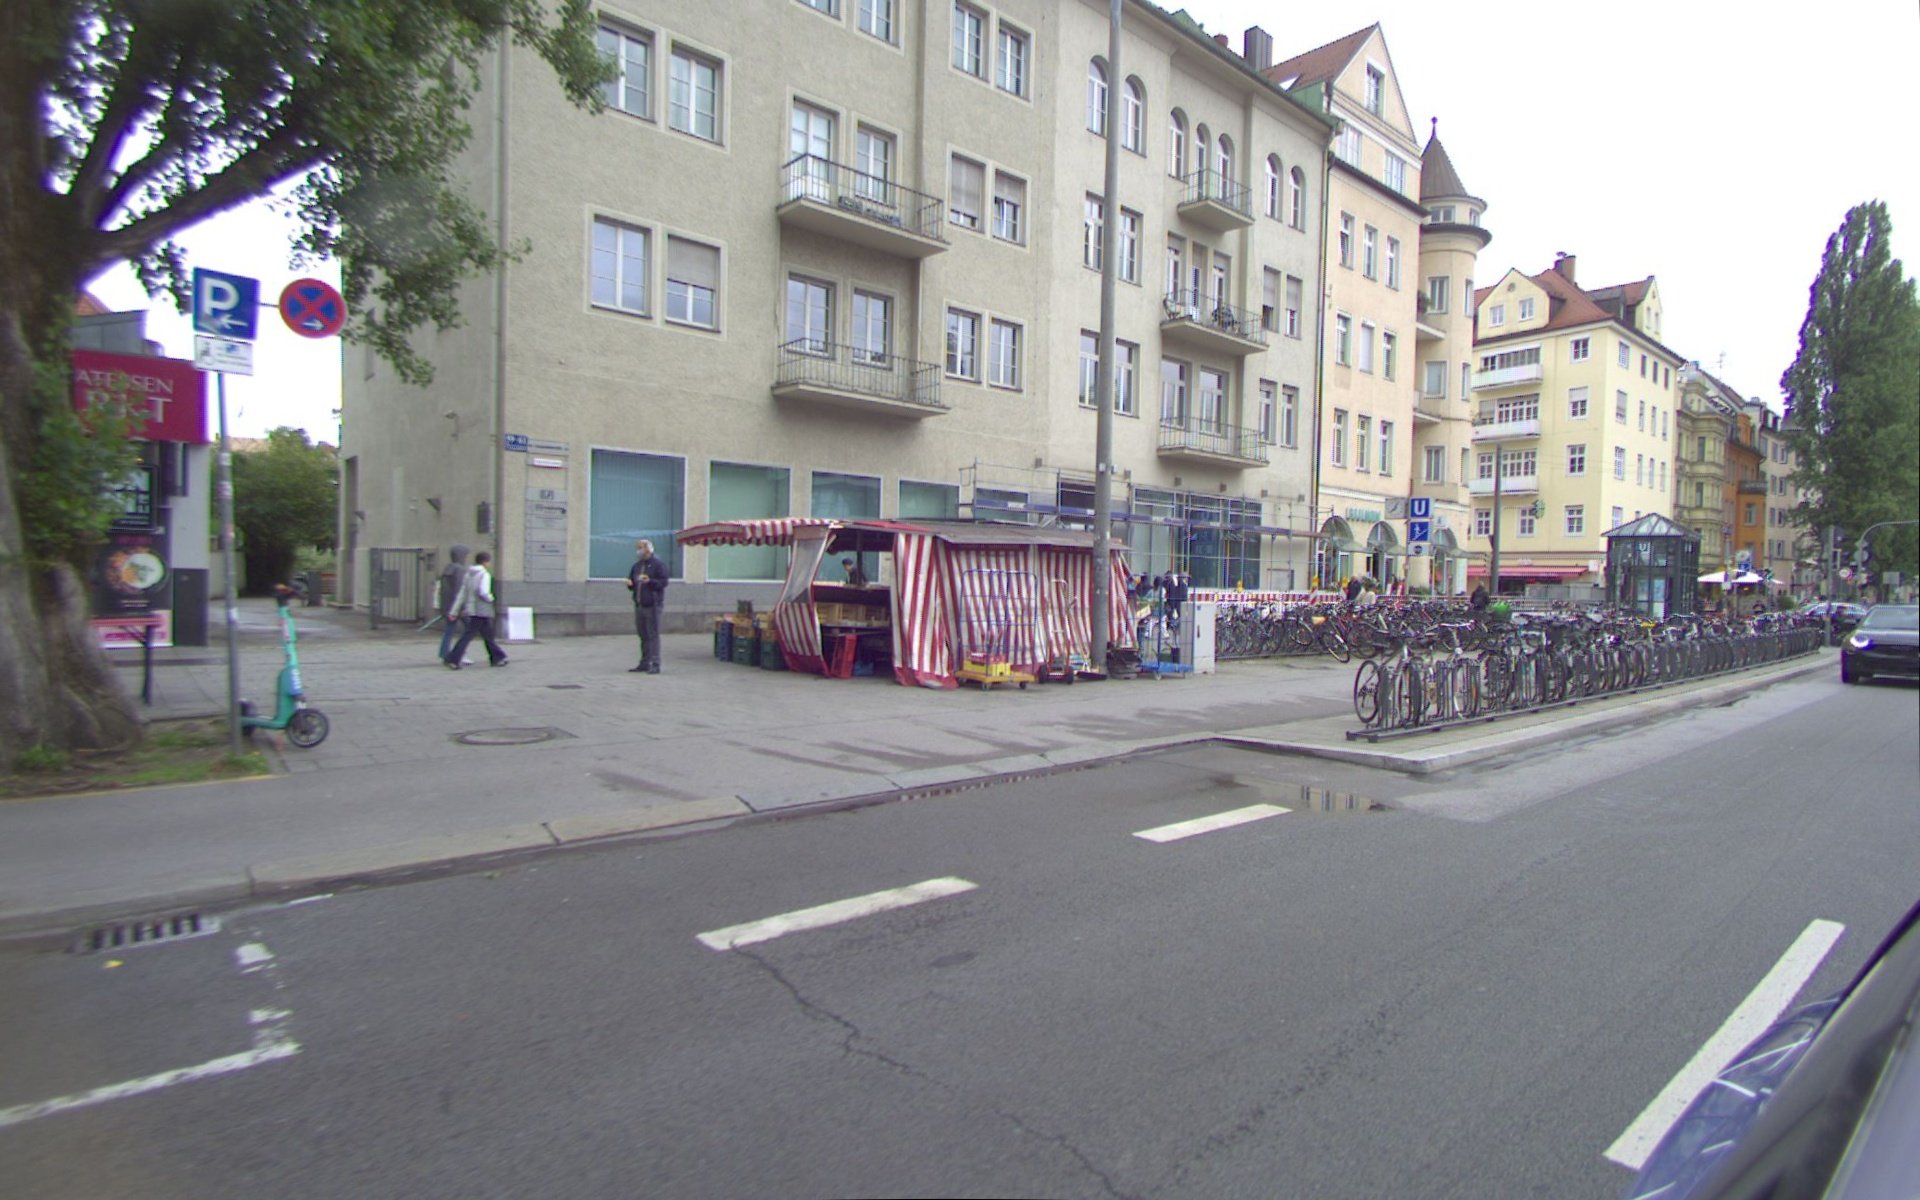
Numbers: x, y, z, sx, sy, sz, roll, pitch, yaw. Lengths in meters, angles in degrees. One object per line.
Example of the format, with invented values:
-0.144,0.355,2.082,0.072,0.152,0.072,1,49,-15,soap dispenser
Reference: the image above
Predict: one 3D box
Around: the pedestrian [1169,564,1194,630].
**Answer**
5.748,-0.092,26.310,0.495,1.695,0.541,0,0,-3,pedestrian

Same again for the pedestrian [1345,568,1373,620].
13.971,-0.215,35.425,0.634,1.760,0.617,1,2,-42,pedestrian

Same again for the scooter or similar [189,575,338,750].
-5.456,0.442,7.905,1.458,1.222,0.396,3,2,32,scooter or similar

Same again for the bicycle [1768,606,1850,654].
21.949,0.748,26.208,0.468,1.151,1.788,1,1,-7,bicycle

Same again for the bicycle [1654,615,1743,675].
13.858,0.830,19.046,0.390,1.073,1.850,0,-2,4,bicycle

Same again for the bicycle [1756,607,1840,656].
20.761,0.764,25.104,0.468,1.151,1.681,1,1,-11,bicycle

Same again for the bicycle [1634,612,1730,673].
13.263,0.772,18.655,0.389,1.073,1.802,0,-2,-3,bicycle

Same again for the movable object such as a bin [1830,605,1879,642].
29.218,0.757,33.057,0.735,1.075,1.088,-1,4,-44,movable object such as a bin

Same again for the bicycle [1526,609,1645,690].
9.146,0.714,14.881,0.536,1.119,1.802,0,-2,-3,bicycle

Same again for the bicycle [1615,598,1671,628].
28.609,0.535,42.414,0.597,1.141,1.828,2,1,-28,bicycle

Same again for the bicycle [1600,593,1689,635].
22.505,0.454,33.309,0.617,1.242,2.318,1,2,-38,bicycle

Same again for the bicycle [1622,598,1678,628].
29.145,0.530,42.768,0.597,1.141,1.828,2,1,-28,bicycle

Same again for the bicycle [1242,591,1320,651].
6.668,0.419,21.077,0.402,1.116,1.636,1,3,-32,bicycle

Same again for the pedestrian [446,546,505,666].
-6.679,0.066,13.941,0.622,1.603,0.644,1,2,-33,pedestrian

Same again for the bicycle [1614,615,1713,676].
12.271,0.786,17.716,0.379,1.024,1.802,0,-2,-3,bicycle

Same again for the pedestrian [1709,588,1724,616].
46.383,0.116,62.037,0.575,1.705,0.552,1,2,-40,pedestrian

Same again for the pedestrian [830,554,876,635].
-2.255,-0.120,21.281,0.749,1.671,0.603,1,1,-30,pedestrian

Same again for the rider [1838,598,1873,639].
29.244,0.594,33.042,0.721,1.256,0.731,-1,4,-44,rider

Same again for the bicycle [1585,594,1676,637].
21.513,0.465,32.508,0.617,1.242,2.318,1,2,-38,bicycle

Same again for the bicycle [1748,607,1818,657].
20.207,0.767,24.872,0.341,1.151,1.527,1,1,-5,bicycle

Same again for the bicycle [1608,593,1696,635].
23.045,0.448,33.763,0.617,1.242,2.318,1,2,-38,bicycle

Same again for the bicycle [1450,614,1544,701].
7.019,0.735,13.306,0.360,1.068,1.799,0,-2,3,bicycle

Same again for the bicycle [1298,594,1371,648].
8.352,0.459,22.622,1.447,1.091,0.404,4,3,41,bicycle

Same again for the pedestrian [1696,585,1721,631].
29.709,0.319,40.166,0.634,1.799,0.605,2,1,26,pedestrian

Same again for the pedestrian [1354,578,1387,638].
11.270,0.200,27.786,0.658,1.602,0.529,3,1,38,pedestrian

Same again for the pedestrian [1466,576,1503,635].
15.883,0.157,30.668,0.728,1.729,0.703,2,1,8,pedestrian

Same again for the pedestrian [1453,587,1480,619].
21.150,0.114,42.220,0.903,1.260,0.700,-1,3,-42,pedestrian

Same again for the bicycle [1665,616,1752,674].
14.436,0.856,19.581,0.390,1.073,1.850,0,-2,4,bicycle

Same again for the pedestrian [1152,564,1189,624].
5.899,-0.176,28.308,0.819,1.652,0.564,1,2,-38,pedestrian

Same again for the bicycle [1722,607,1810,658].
19.542,0.770,24.597,0.578,1.151,1.798,1,1,-5,bicycle

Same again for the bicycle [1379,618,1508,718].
5.550,0.759,11.736,0.536,1.068,1.802,0,-2,-3,bicycle

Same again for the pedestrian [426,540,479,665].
-7.198,0.023,14.340,0.585,1.722,0.582,1,2,-33,pedestrian

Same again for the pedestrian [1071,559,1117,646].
2.940,0.039,22.210,0.713,1.851,0.720,3,1,35,pedestrian

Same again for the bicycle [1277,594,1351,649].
7.791,0.462,22.323,1.447,1.091,0.404,4,3,41,bicycle

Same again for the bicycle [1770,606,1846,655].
21.427,0.757,25.610,0.469,1.151,1.679,1,1,-2,bicycle

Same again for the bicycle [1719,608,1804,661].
18.716,0.783,23.683,0.480,1.151,1.797,1,1,-3,bicycle

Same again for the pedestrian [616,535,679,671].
-4.278,0.023,13.873,0.598,1.792,0.720,2,2,0,pedestrian

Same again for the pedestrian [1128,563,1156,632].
4.495,-0.070,24.997,0.463,1.694,0.527,0,0,-33,pedestrian

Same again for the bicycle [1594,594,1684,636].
22.016,0.460,32.878,0.617,1.242,2.318,1,2,-38,bicycle

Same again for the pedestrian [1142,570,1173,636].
4.773,0.067,24.458,0.458,1.559,0.560,0,0,-40,pedestrian

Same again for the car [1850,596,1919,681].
18.414,0.690,19.306,3.982,1.488,1.738,0,1,-43,car

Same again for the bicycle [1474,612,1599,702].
7.607,0.735,13.450,0.536,1.119,1.802,0,-2,-3,bicycle

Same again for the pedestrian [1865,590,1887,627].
45.784,0.414,50.593,0.729,1.823,0.701,3,3,40,pedestrian

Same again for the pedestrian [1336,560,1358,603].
14.067,-0.682,36.796,0.556,1.560,0.591,1,2,0,pedestrian
